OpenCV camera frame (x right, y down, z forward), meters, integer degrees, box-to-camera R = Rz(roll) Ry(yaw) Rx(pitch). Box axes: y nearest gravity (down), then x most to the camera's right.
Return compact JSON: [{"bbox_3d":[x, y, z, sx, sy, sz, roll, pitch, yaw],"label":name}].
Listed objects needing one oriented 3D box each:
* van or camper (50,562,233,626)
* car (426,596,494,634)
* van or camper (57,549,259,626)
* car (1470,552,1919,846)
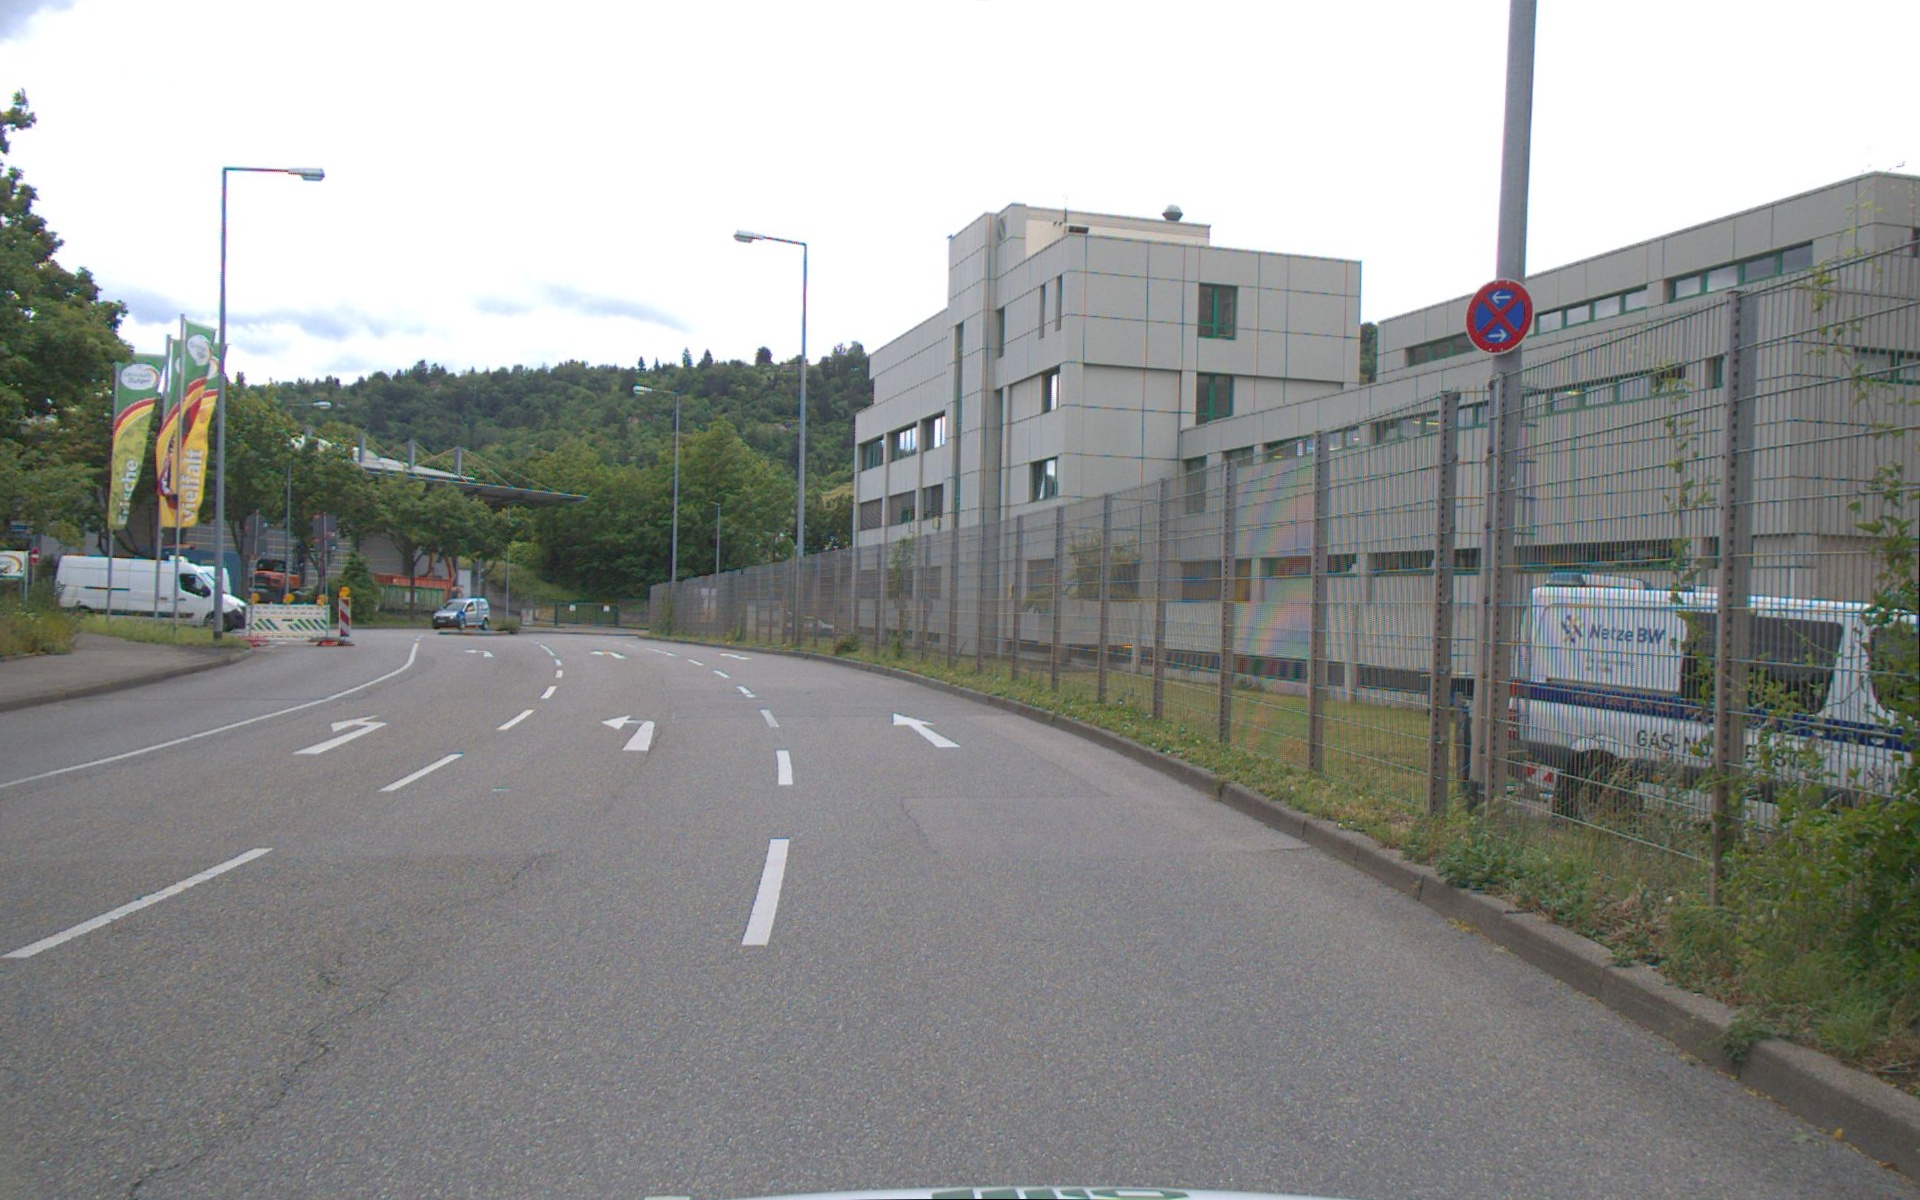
[{"bbox_3d":[-33.948,-0.212,68.695,6.570,2.367,1.992,2,-2,-33],"label":"van or camper"},{"bbox_3d":[-28.715,0.854,95.112,1.951,2.049,4.134,2,0,11],"label":"car"},{"bbox_3d":[-28.136,-0.401,58.260,5.887,2.286,2.386,4,-2,-16],"label":"van or camper"},{"bbox_3d":[7.640,0.810,14.581,1.977,2.302,6.094,2,-1,-35],"label":"car"}]
